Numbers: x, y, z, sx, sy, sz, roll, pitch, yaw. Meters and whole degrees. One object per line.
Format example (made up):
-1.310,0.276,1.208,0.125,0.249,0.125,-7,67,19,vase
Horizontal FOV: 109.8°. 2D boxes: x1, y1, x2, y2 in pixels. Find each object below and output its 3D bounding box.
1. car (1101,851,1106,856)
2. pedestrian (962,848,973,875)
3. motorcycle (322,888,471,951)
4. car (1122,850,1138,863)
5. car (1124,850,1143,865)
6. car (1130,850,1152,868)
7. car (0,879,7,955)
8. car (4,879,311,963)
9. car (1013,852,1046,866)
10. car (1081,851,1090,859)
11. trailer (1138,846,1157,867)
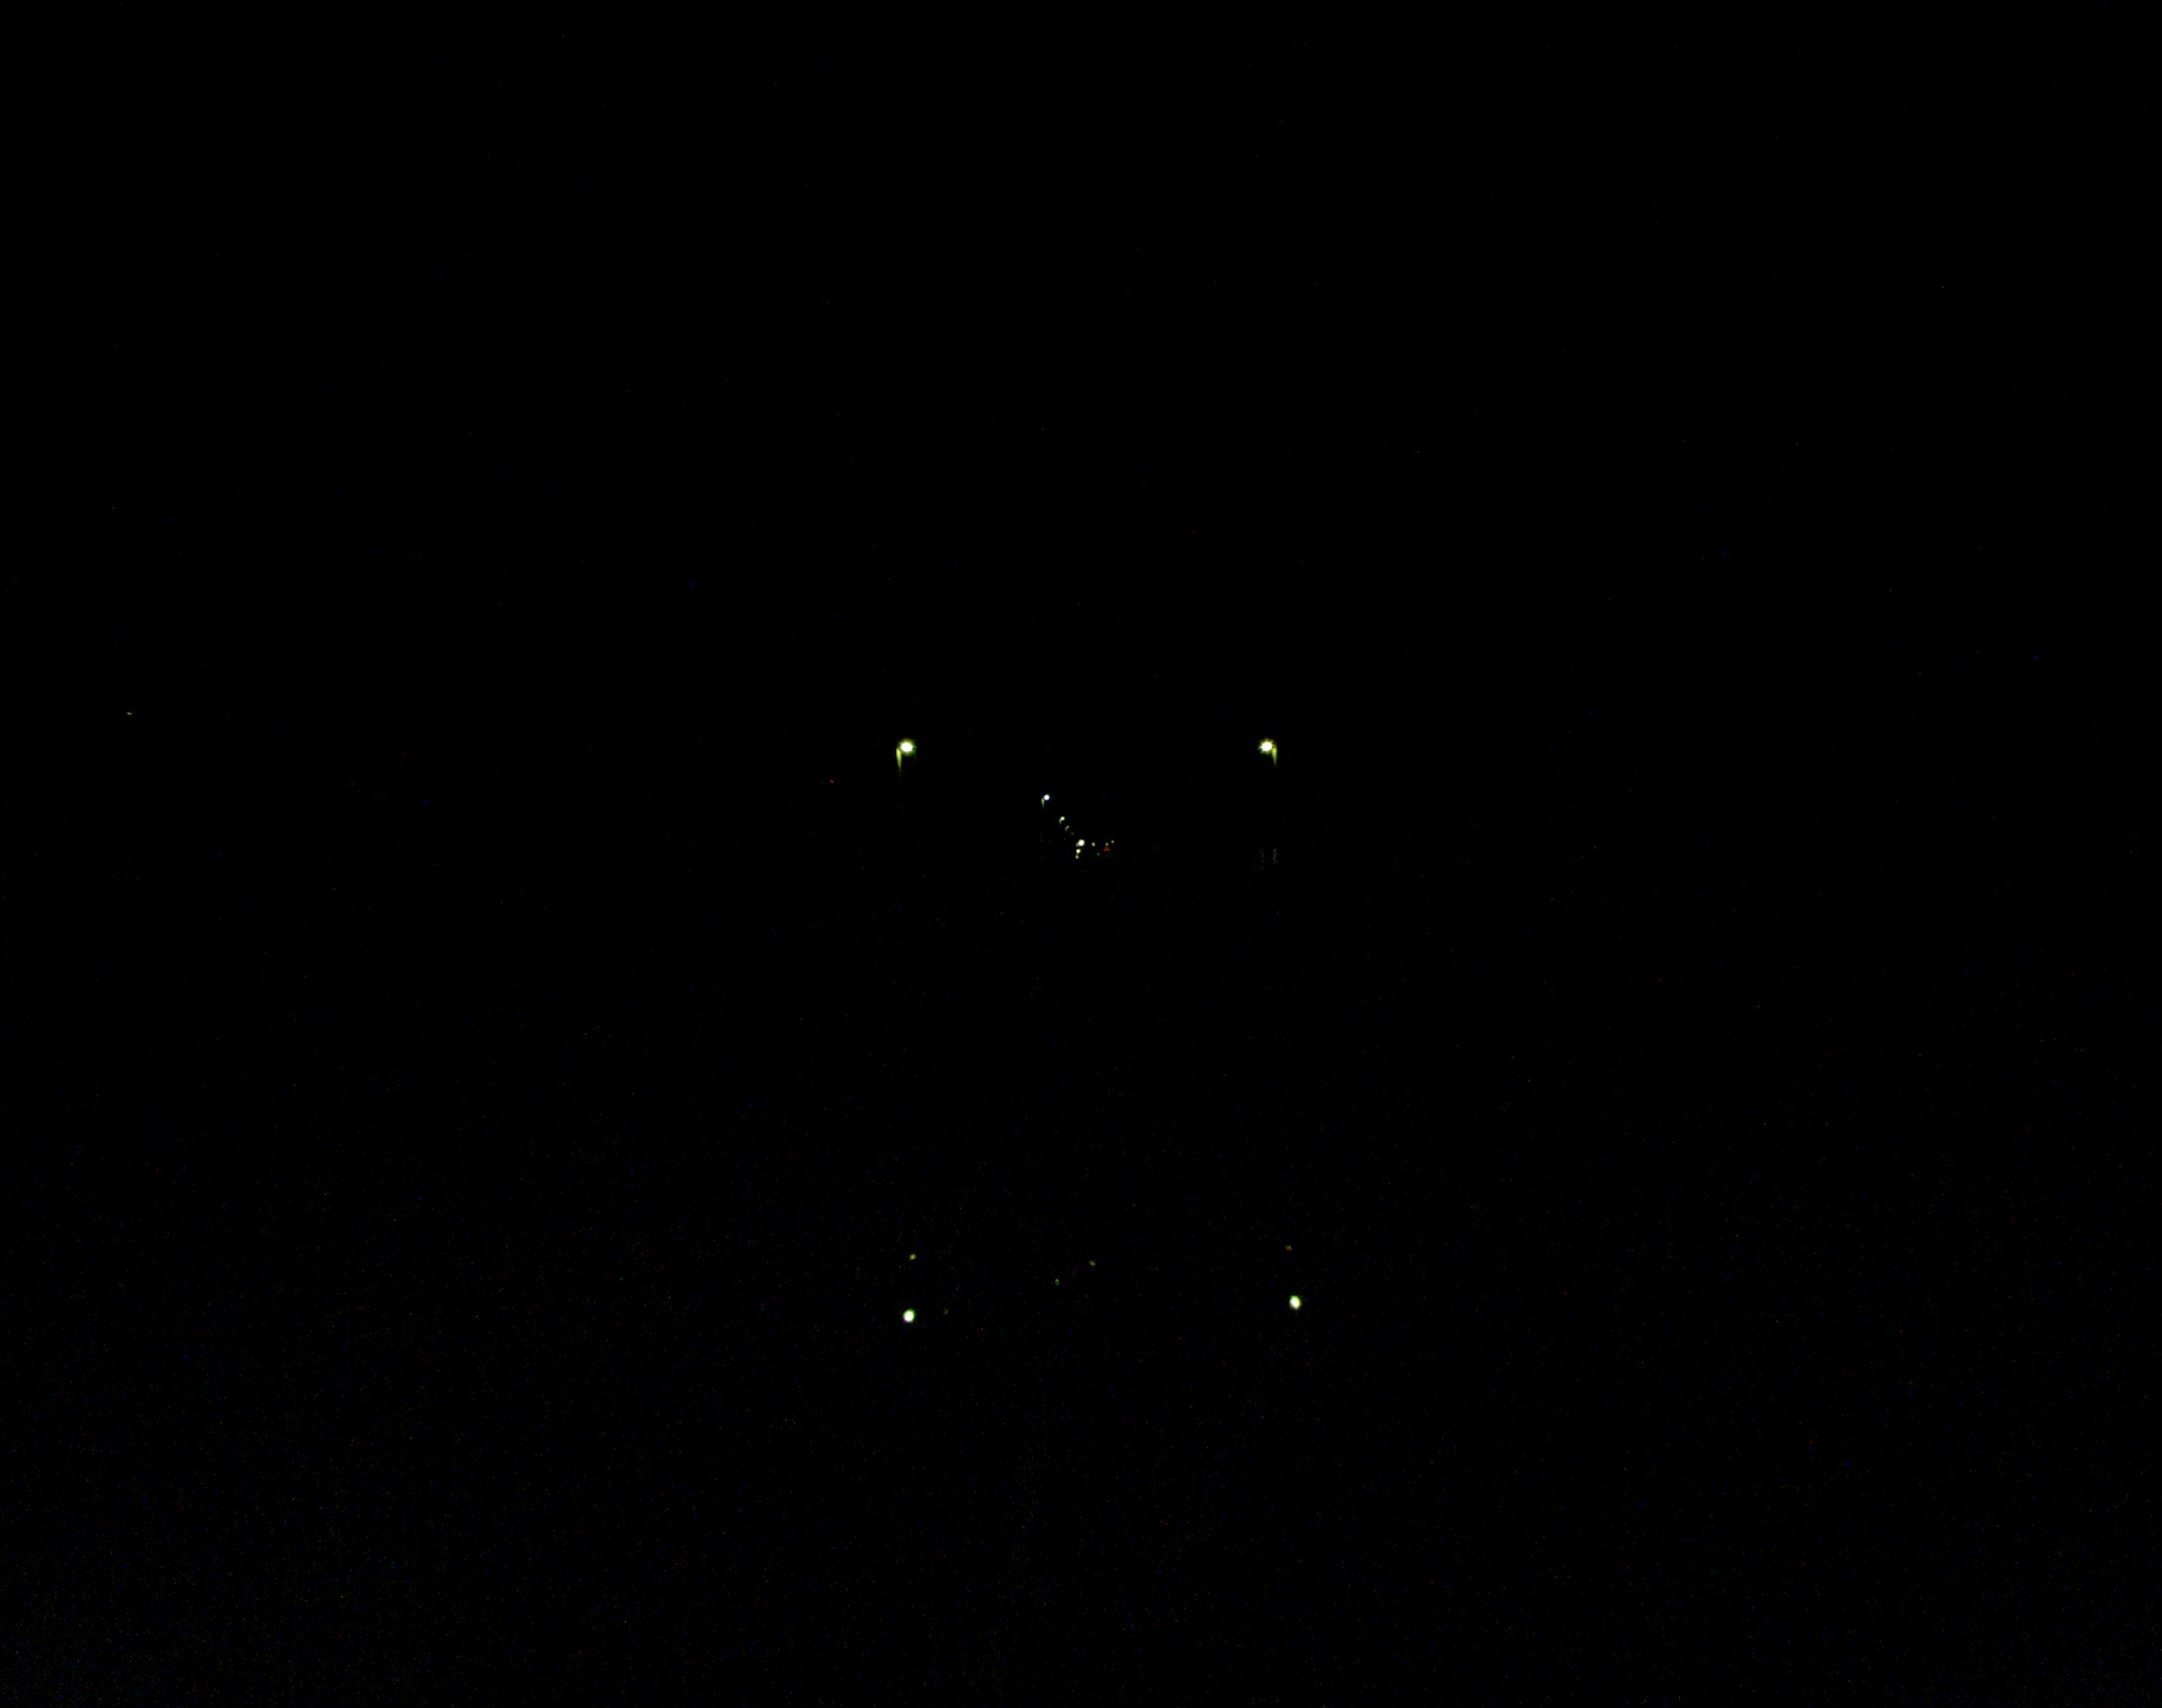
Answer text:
7.647,-0.129,255.645,1.606,1.474,3.699,-2,0,1,car
-8.351,0.554,55.811,0.647,1.926,0.773,-1,1,1,pedestrian
-14.506,1.375,16.172,2.267,1.207,0.710,-1,0,-15,motorcycle
6.003,0.269,93.029,1.692,1.501,4.278,-3,0,1,car
5.794,0.365,84.705,1.771,1.510,4.278,-4,0,1,car
5.601,0.454,71.150,1.675,1.513,2.978,-5,0,0,car
-23.666,1.311,14.131,4.036,1.539,1.610,-1,0,-20,car
-18.991,1.323,15.851,3.633,1.470,1.862,-1,0,-15,car
-6.358,0.625,93.769,3.719,1.464,1.730,-3,1,4,car
0.902,0.130,152.821,1.747,1.560,4.209,-2,0,2,car
5.921,0.208,67.907,1.451,1.678,3.426,-5,0,3,trailer
